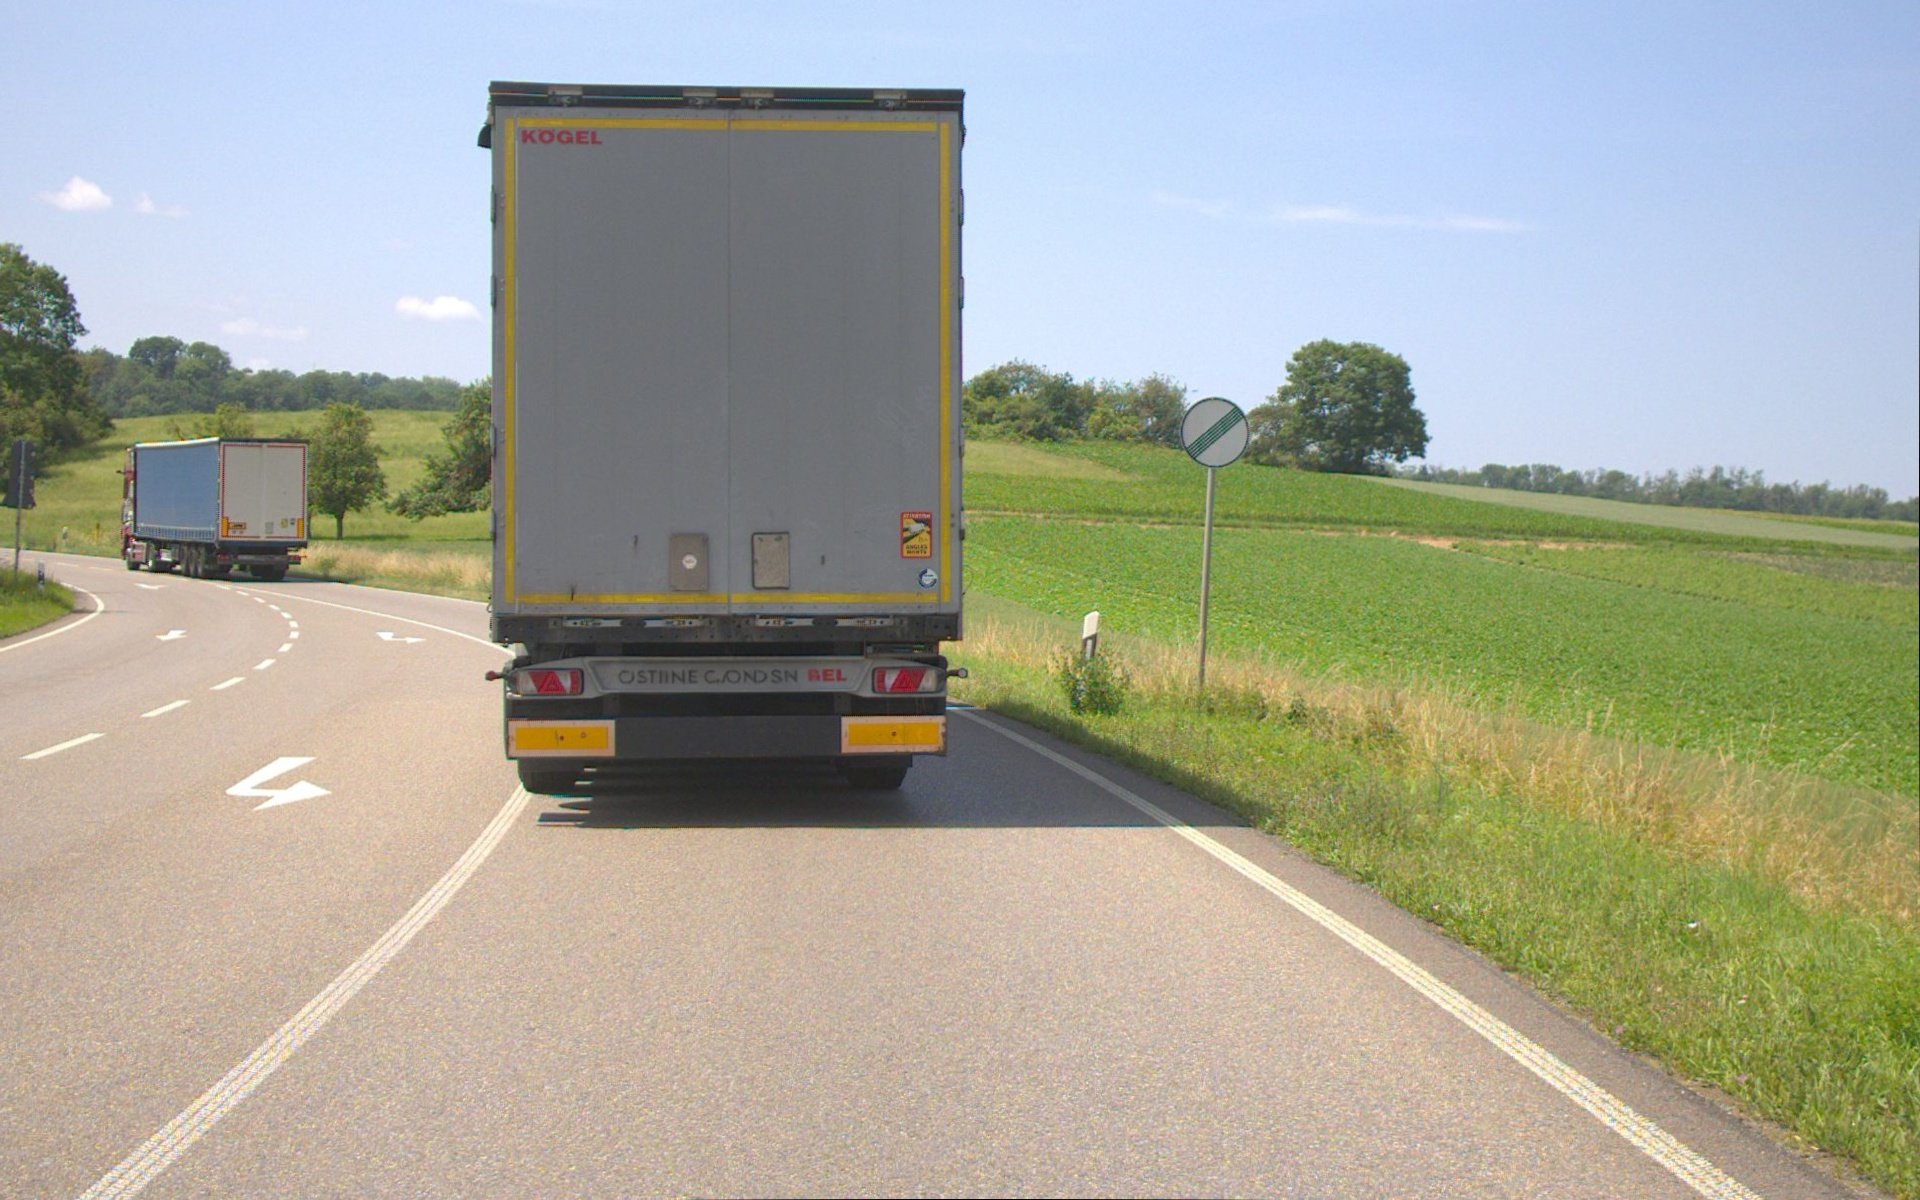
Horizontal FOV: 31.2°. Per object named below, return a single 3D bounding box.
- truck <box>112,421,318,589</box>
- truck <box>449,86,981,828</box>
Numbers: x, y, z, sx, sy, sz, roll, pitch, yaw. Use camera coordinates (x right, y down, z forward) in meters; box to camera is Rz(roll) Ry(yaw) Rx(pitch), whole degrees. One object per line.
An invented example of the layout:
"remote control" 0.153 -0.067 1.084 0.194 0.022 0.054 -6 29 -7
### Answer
"truck" -22.694 -2.860 103.740 2.960 4.568 16.320 2 1 -23
"truck" -1.790 -0.826 23.127 2.807 3.932 9.593 0 1 -6
